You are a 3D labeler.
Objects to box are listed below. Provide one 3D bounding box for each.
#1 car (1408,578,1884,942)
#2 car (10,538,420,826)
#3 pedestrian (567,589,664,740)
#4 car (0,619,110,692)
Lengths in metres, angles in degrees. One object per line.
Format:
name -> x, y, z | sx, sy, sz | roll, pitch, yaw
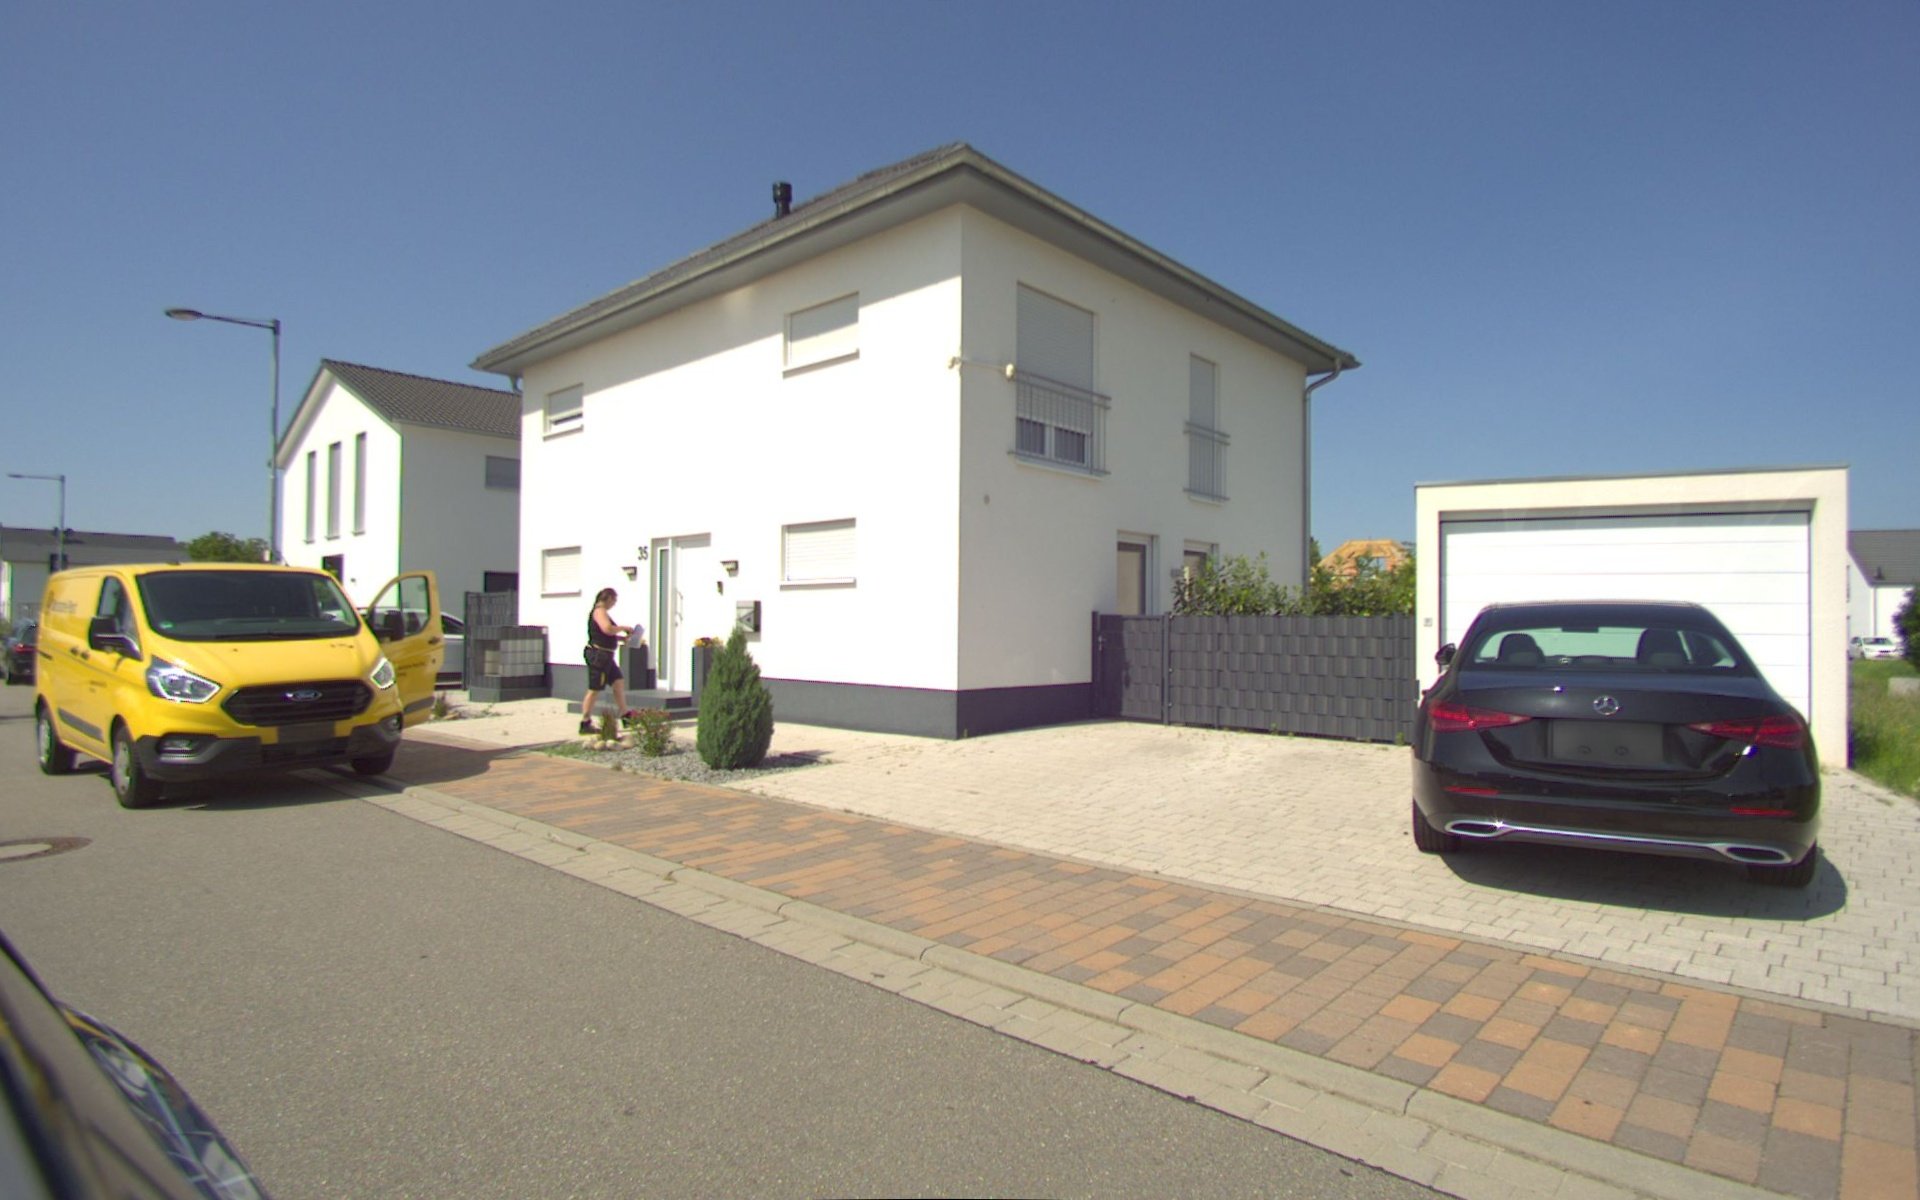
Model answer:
car -> 4.003, 0.663, 6.428 | 1.741, 1.463, 4.364 | -1, -1, 29
car -> -7.054, 0.614, 9.374 | 4.835, 2.029, 1.866 | -1, -1, 38
pedestrian -> -4.064, 0.730, 11.957 | 0.918, 1.698, 0.538 | -2, 0, -38
car -> -21.121, 1.210, 23.434 | 4.445, 1.484, 1.672 | -1, 0, 43
